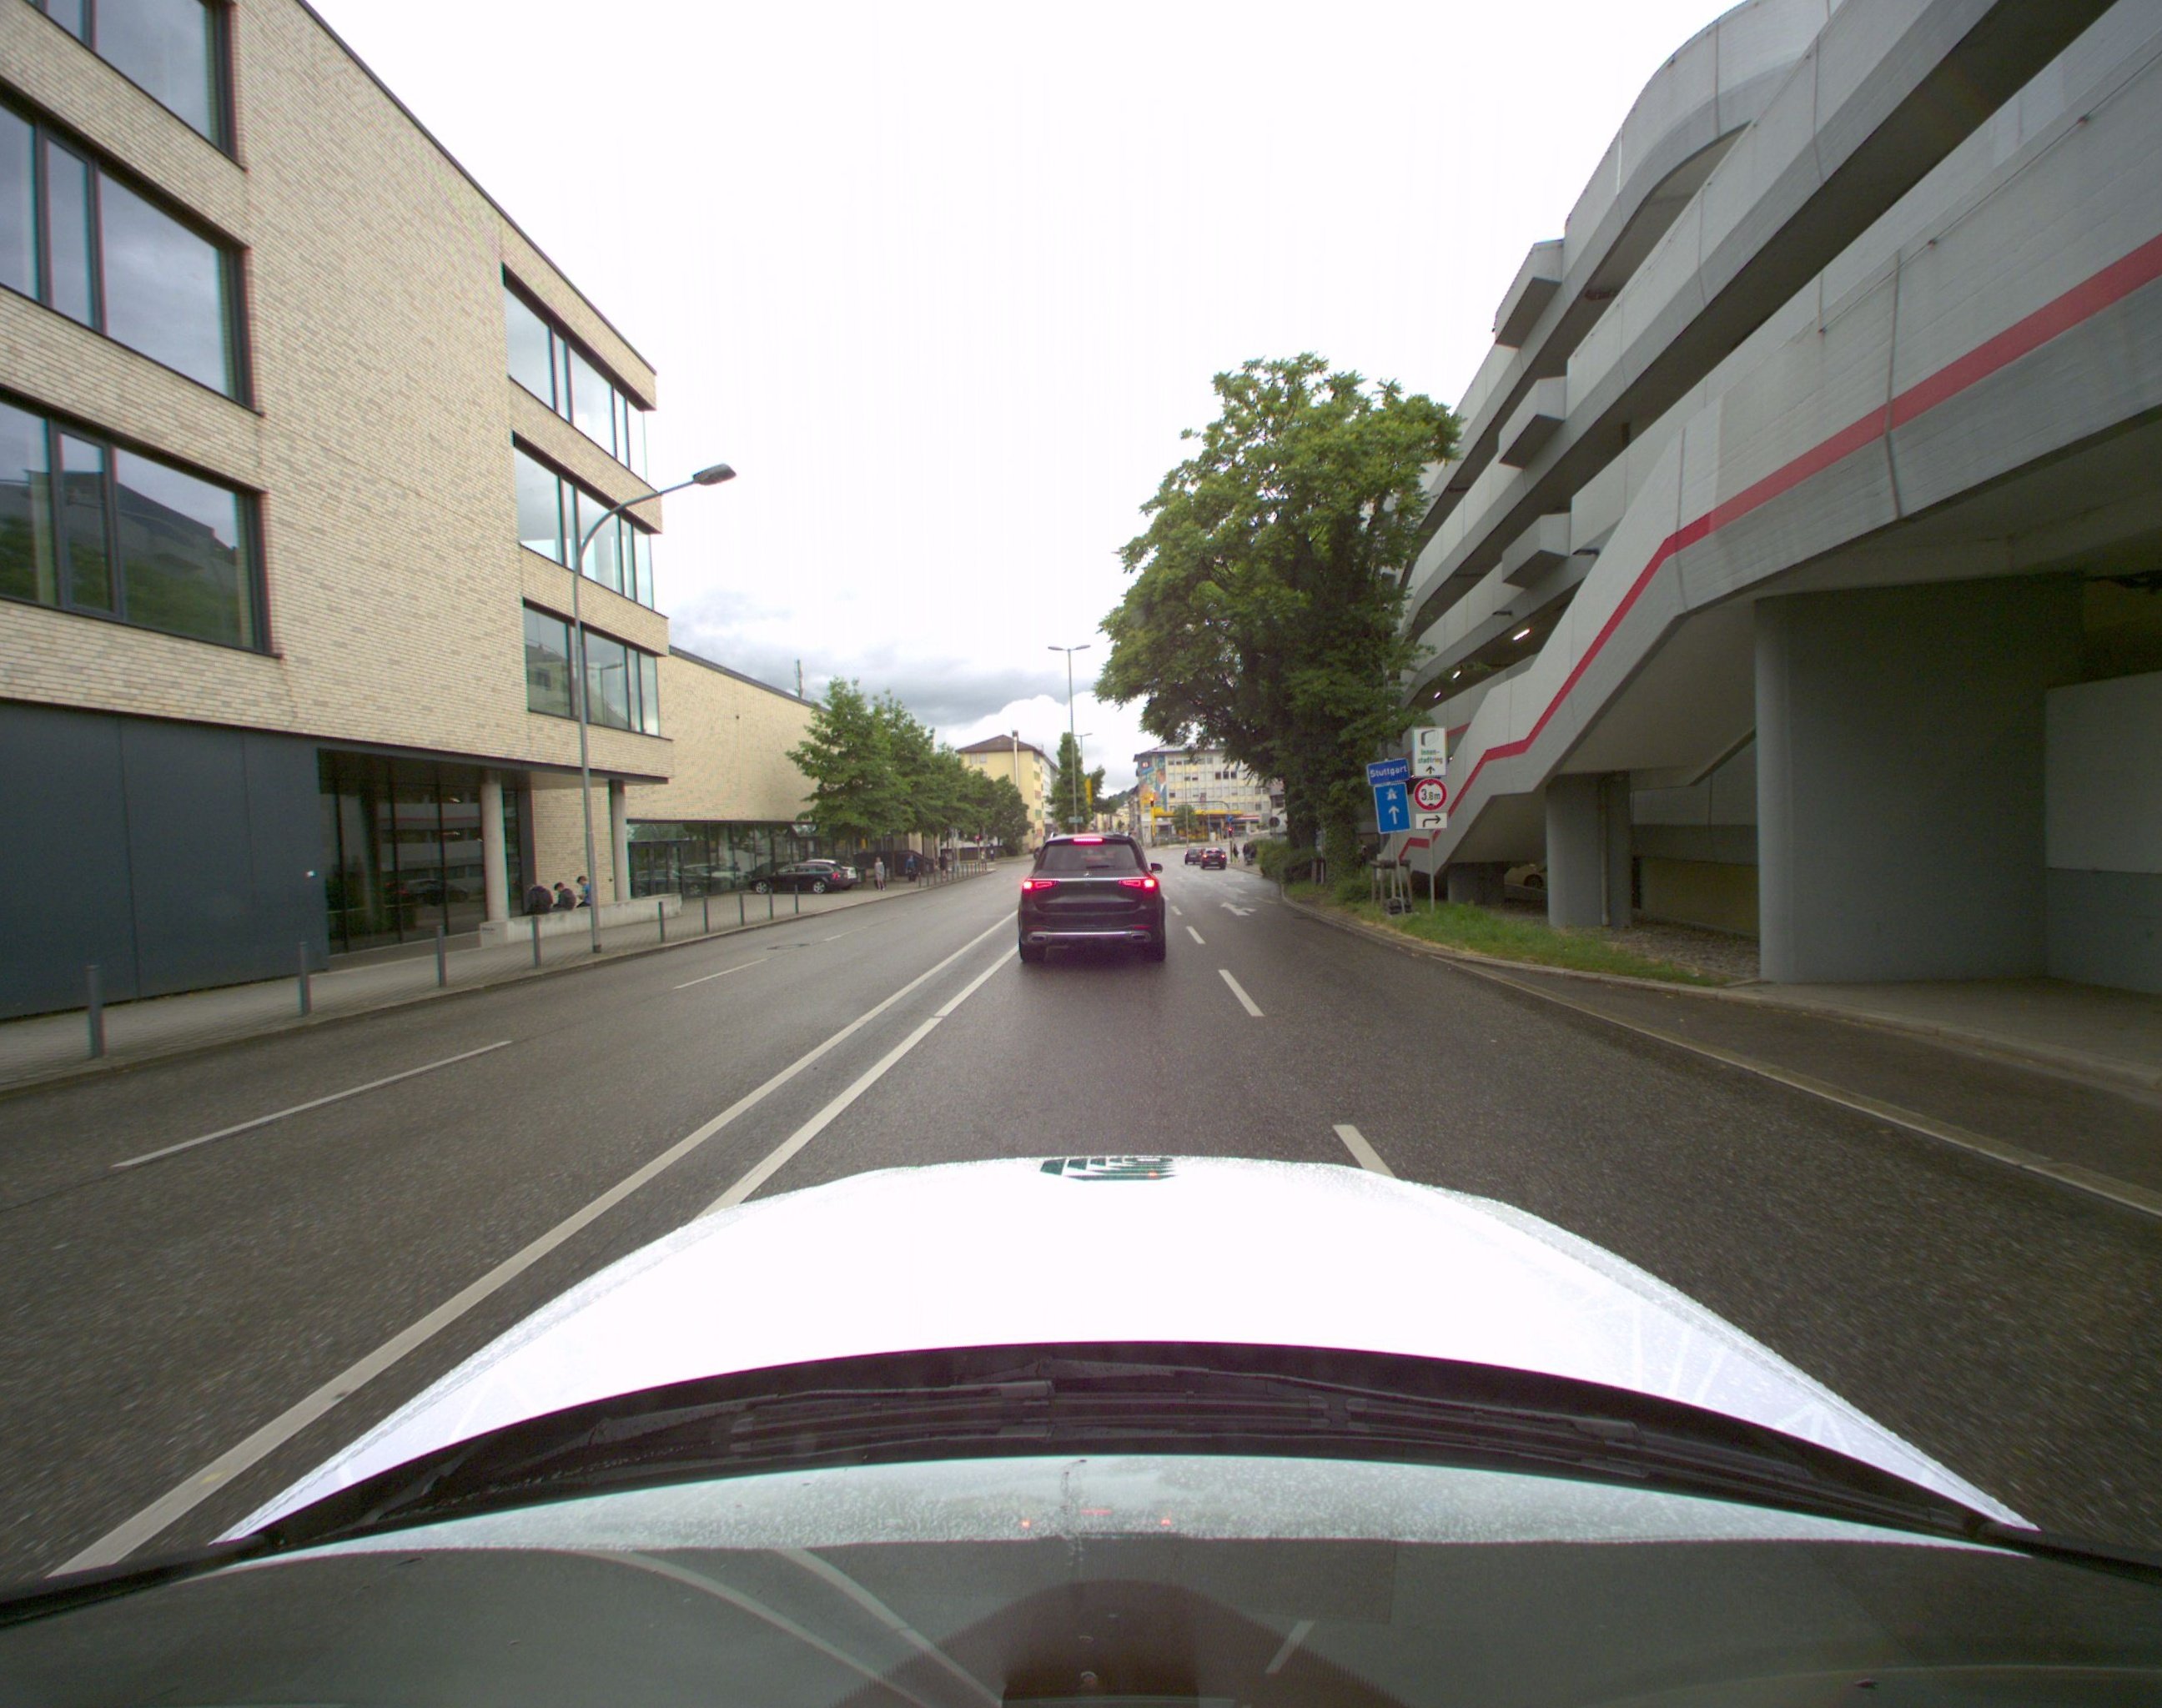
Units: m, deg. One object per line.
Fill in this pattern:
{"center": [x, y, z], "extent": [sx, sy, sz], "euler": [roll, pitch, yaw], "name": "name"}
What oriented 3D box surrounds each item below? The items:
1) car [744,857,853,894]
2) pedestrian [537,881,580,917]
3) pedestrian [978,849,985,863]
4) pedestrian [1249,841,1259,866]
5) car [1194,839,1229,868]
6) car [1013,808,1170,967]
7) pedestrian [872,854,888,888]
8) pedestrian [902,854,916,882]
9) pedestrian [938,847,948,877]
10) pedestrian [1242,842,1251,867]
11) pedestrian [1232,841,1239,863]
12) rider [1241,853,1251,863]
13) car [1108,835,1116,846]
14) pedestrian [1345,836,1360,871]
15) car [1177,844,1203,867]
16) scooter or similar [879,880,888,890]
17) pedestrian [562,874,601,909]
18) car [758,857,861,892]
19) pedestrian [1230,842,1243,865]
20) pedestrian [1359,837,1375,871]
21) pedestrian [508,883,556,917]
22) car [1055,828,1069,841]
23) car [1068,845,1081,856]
{"center": [-13.274, 0.997, 38.457], "extent": [4.459, 1.587, 1.997], "euler": [-1, 0, -4], "name": "car"}
{"center": [-12.985, 1.115, 20.247], "extent": [0.584, 0.845, 0.728], "euler": [-1, -1, 3], "name": "pedestrian"}
{"center": [-11.115, 0.227, 91.102], "extent": [0.708, 1.462, 0.598], "euler": [0, -1, 1], "name": "pedestrian"}
{"center": [13.528, -0.009, 63.727], "extent": [0.618, 1.935, 0.610], "euler": [0, -1, 1], "name": "pedestrian"}
{"center": [9.562, -0.077, 59.874], "extent": [1.986, 2.013, 4.001], "euler": [-1, 0, 1], "name": "car"}
{"center": [0.190, 0.443, 12.365], "extent": [1.986, 2.014, 4.001], "euler": [0, -1, 2], "name": "car"}
{"center": [-10.100, 0.832, 40.955], "extent": [0.673, 1.697, 0.479], "euler": [0, 0, 2], "name": "pedestrian"}
{"center": [-10.560, 0.866, 49.935], "extent": [0.686, 1.726, 0.754], "euler": [0, -3, 1], "name": "pedestrian"}
{"center": [-9.482, 0.548, 55.943], "extent": [0.585, 2.014, 0.749], "euler": [0, -1, 1], "name": "pedestrian"}
{"center": [12.589, 0.018, 62.008], "extent": [0.658, 1.917, 0.731], "euler": [0, -1, 11], "name": "pedestrian"}
{"center": [13.702, -0.167, 72.152], "extent": [0.517, 1.911, 0.556], "euler": [0, -1, 3], "name": "pedestrian"}
{"center": [12.405, 0.321, 61.252], "extent": [0.689, 0.740, 0.634], "euler": [0, -1, 10], "name": "rider"}
{"center": [7.487, -3.214, 196.513], "extent": [1.986, 2.011, 4.007], "euler": [0, 11, 2], "name": "car"}
{"center": [12.097, -0.012, 36.243], "extent": [0.548, 1.532, 0.489], "euler": [0, -1, 9], "name": "pedestrian"}
{"center": [9.557, 0.145, 71.793], "extent": [1.985, 2.014, 4.003], "euler": [0, -1, 3], "name": "car"}
{"center": [-10.032, 1.576, 41.329], "extent": [0.279, 0.501, 0.616], "euler": [0, -1, 1], "name": "scooter or similar"}
{"center": [-13.087, 0.969, 21.347], "extent": [0.679, 0.886, 0.524], "euler": [0, -1, -1], "name": "pedestrian"}
{"center": [-13.412, 1.016, 40.476], "extent": [4.405, 1.573, 1.999], "euler": [-1, 2, -3], "name": "car"}
{"center": [13.605, -0.042, 71.315], "extent": [1.021, 2.013, 0.999], "euler": [0, 0, 1], "name": "pedestrian"}
{"center": [12.672, 0.008, 36.110], "extent": [0.578, 1.501, 0.505], "euler": [0, -1, 7], "name": "pedestrian"}
{"center": [-13.031, 1.090, 19.359], "extent": [0.595, 0.786, 0.761], "euler": [0, -1, 3], "name": "pedestrian"}
{"center": [-2.909, -2.998, 127.945], "extent": [1.986, 1.875, 5.143], "euler": [0, 0, 1], "name": "car"}
{"center": [-1.160, -0.620, 151.143], "extent": [1.992, 2.014, 3.990], "euler": [0, -1, -7], "name": "car"}
